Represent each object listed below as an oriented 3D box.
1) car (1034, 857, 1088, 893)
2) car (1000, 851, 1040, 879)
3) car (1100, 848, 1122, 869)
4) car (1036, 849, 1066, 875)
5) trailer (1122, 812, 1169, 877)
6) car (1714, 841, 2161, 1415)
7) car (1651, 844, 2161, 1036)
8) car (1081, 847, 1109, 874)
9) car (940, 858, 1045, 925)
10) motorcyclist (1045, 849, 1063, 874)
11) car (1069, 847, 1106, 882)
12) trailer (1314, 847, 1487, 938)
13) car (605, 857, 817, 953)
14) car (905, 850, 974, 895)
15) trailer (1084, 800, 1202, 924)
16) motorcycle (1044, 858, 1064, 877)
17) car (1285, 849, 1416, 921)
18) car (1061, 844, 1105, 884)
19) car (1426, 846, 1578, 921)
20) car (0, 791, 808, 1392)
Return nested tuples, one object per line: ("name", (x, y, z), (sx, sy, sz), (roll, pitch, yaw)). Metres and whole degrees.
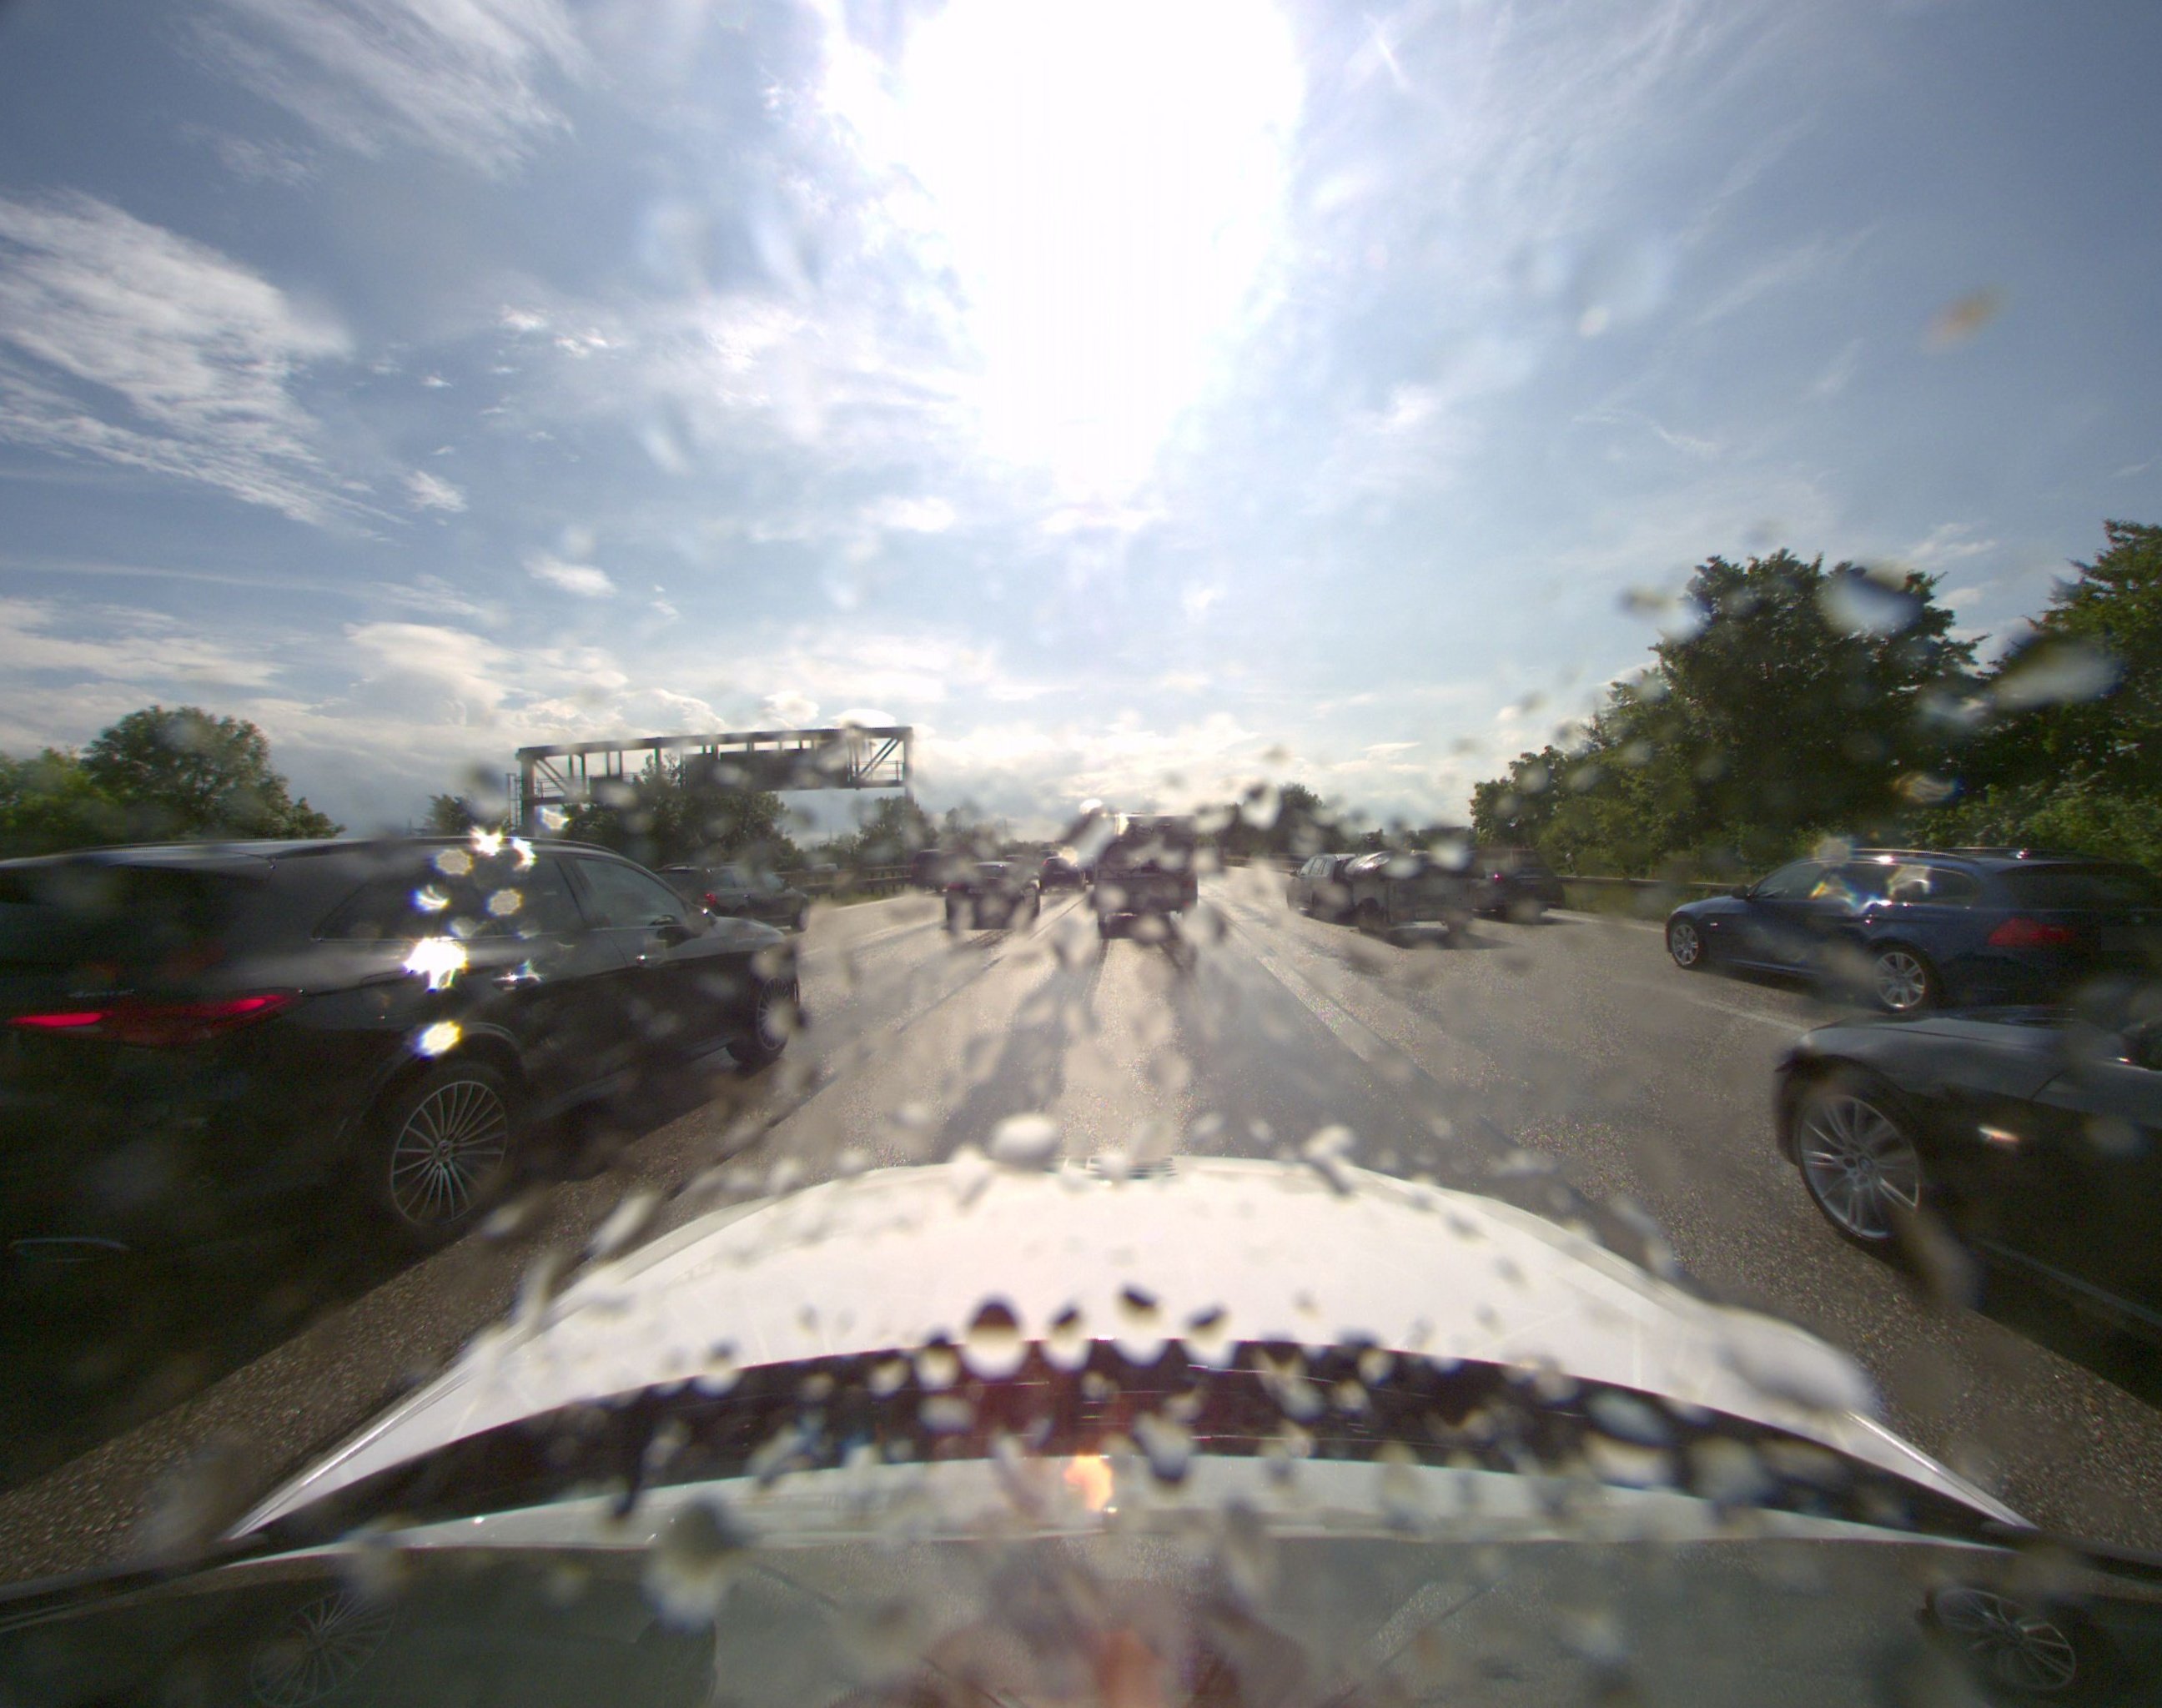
("car", (-0.763, 0.819, 33.396), (1.798, 1.407, 4.004), (-1, 0, 4))
("car", (-3.992, 0.691, 53.879), (1.984, 1.772, 4.005), (-1, 0, 5))
("car", (3.149, 0.470, 85.239), (1.984, 2.013, 4.005), (-2, 0, 5))
("car", (-2.467, 0.666, 68.371), (1.984, 2.013, 4.005), (2, 0, 5))
("trailer", (4.636, -0.620, 56.975), (2.992, 4.166, 8.550), (-1, 0, 6))
("car", (3.531, 0.677, 1.615), (1.732, 1.420, 3.840), (-1, 0, 4))
("car", (7.935, 0.631, 8.132), (1.762, 1.401, 4.295), (-1, 0, 5))
("car", (1.155, 0.508, 65.304), (1.984, 2.013, 4.005), (-1, 0, 5))
("car", (-2.011, 0.828, 19.603), (1.749, 1.387, 3.950), (-1, 0, 5))
("motorcyclist", (-1.828, 0.504, 55.416), (1.059, 1.718, 0.786), (-1, -1, 4))
("car", (0.441, 0.654, 51.497), (1.984, 2.013, 4.005), (2, 0, 5))
("trailer", (5.806, 0.631, 15.362), (1.846, 1.442, 4.152), (-1, 0, 4))
("car", (-6.733, 0.844, 15.394), (1.749, 1.516, 4.214), (-1, 0, 5))
("car", (-5.816, 0.739, 33.990), (1.985, 1.720, 4.003), (0, 0, 3))
("trailer", (1.473, 0.182, 19.758), (2.364, 2.483, 6.530), (-1, 0, 4))
("motorcycle", (-1.822, 0.896, 55.355), (1.069, 1.271, 2.693), (-1, 0, 5))
("car", (6.042, 0.634, 18.769), (1.846, 1.442, 4.262), (-1, 0, 4))
("car", (0.148, 0.512, 43.284), (1.984, 2.013, 4.005), (0, 0, 5))
("car", (9.260, 0.592, 18.249), (1.664, 1.482, 3.675), (-1, 0, 4))
("car", (-3.385, 0.687, 4.509), (1.985, 1.661, 4.410), (-1, 0, 4))
